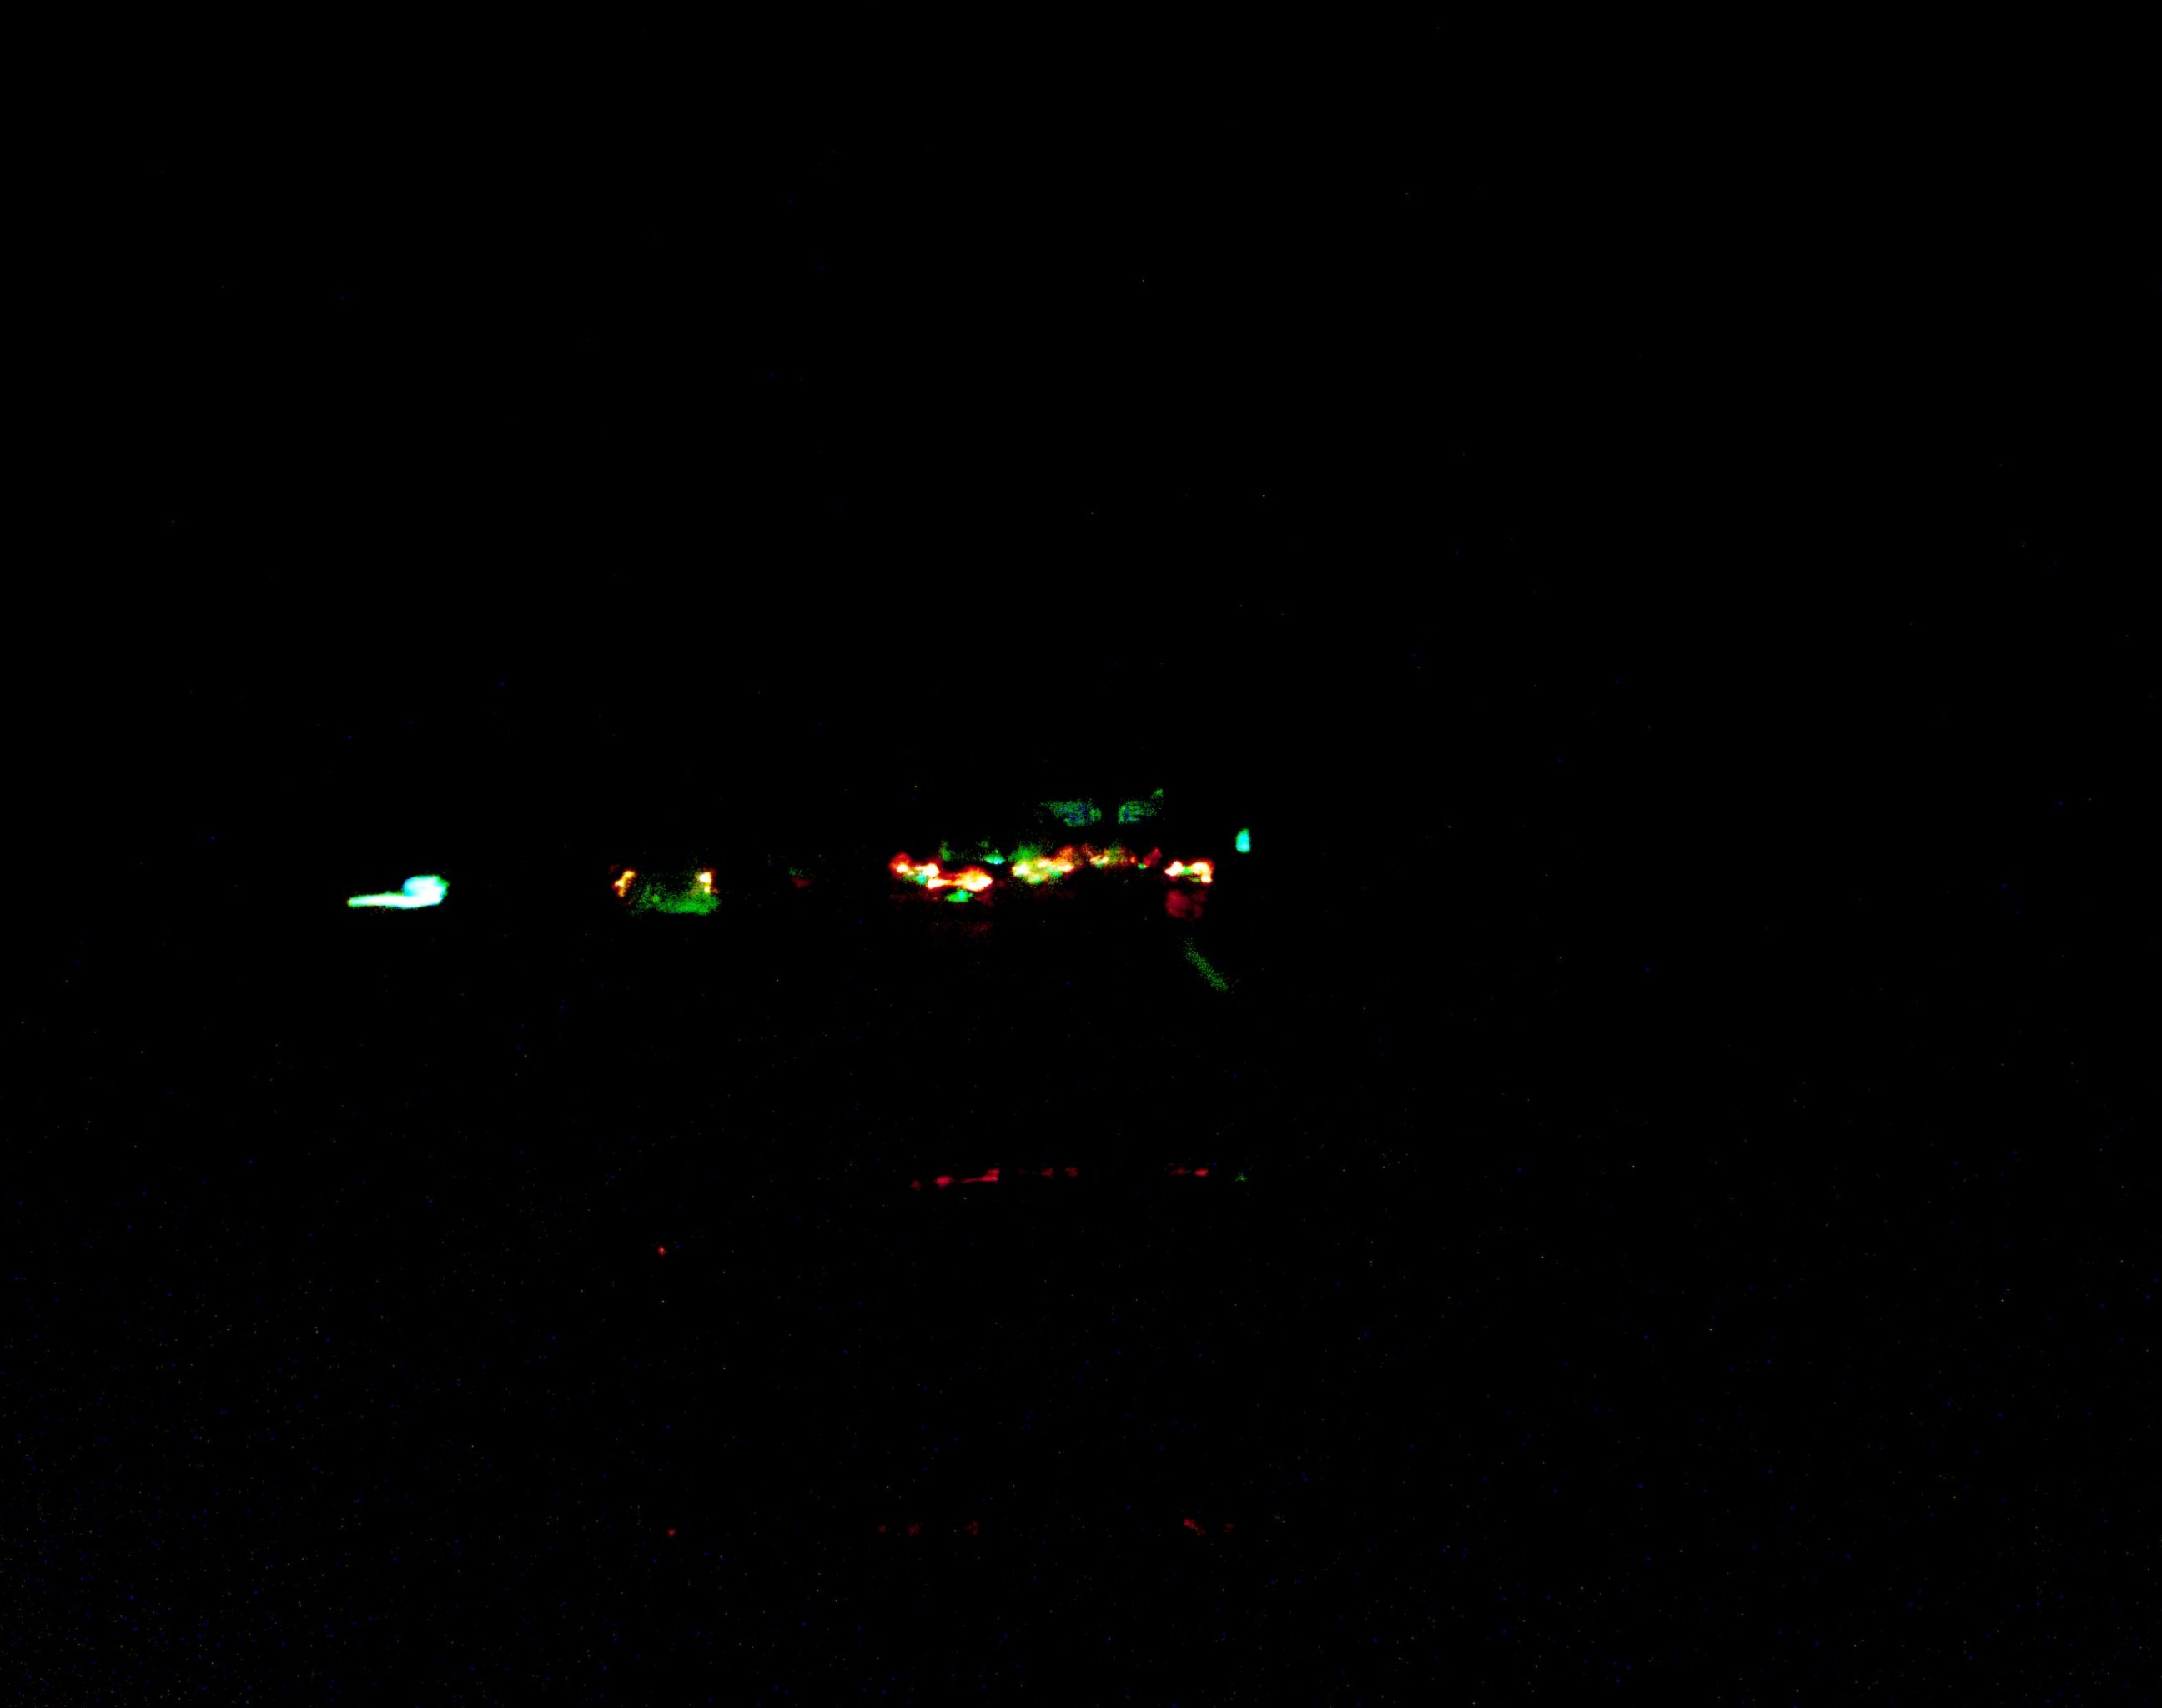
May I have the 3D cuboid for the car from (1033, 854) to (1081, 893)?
[{"bbox_3d":[-1.099,0.892,39.503,2.031,1.761,4.517,0,0,2],"label":"car"}]

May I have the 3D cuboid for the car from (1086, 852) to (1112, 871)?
[{"bbox_3d":[2.046,0.794,90.112,2.822,2.014,5.513,0,0,2],"label":"car"}]

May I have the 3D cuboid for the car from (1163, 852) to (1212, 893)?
[{"bbox_3d":[4.838,0.826,37.423,1.870,1.762,4.002,0,0,2],"label":"car"}]

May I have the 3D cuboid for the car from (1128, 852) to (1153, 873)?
[{"bbox_3d":[5.092,0.739,70.344,1.986,1.704,4.460,0,0,2],"label":"car"}]

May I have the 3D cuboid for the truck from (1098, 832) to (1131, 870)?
[{"bbox_3d":[4.770,-0.366,118.460,4.149,5.215,9.949,0,0,-1],"label":"truck"}]

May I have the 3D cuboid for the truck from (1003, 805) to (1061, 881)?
[{"bbox_3d":[-3.245,-0.652,55.811,3.647,4.737,9.843,0,0,-2],"label":"truck"}]

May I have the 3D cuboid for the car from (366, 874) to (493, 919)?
[{"bbox_3d":[-27.346,1.724,34.410,1.587,1.685,4.550,0,0,2],"label":"car"}]

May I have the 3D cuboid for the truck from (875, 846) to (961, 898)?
[{"bbox_3d":[-7.352,0.797,37.578,2.849,2.201,5.856,0,0,-1],"label":"truck"}]

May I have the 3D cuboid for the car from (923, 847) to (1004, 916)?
[{"bbox_3d":[-3.109,0.661,22.297,1.761,1.689,3.997,-1,0,-2],"label":"car"}]

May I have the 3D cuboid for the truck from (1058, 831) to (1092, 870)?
[{"bbox_3d":[-0.803,-0.457,119.646,4.236,5.444,10.894,0,0,3],"label":"truck"}]

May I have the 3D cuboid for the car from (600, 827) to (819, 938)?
[{"bbox_3d":[-8.012,0.546,18.380,2.114,2.104,5.633,-1,0,3],"label":"car"}]
